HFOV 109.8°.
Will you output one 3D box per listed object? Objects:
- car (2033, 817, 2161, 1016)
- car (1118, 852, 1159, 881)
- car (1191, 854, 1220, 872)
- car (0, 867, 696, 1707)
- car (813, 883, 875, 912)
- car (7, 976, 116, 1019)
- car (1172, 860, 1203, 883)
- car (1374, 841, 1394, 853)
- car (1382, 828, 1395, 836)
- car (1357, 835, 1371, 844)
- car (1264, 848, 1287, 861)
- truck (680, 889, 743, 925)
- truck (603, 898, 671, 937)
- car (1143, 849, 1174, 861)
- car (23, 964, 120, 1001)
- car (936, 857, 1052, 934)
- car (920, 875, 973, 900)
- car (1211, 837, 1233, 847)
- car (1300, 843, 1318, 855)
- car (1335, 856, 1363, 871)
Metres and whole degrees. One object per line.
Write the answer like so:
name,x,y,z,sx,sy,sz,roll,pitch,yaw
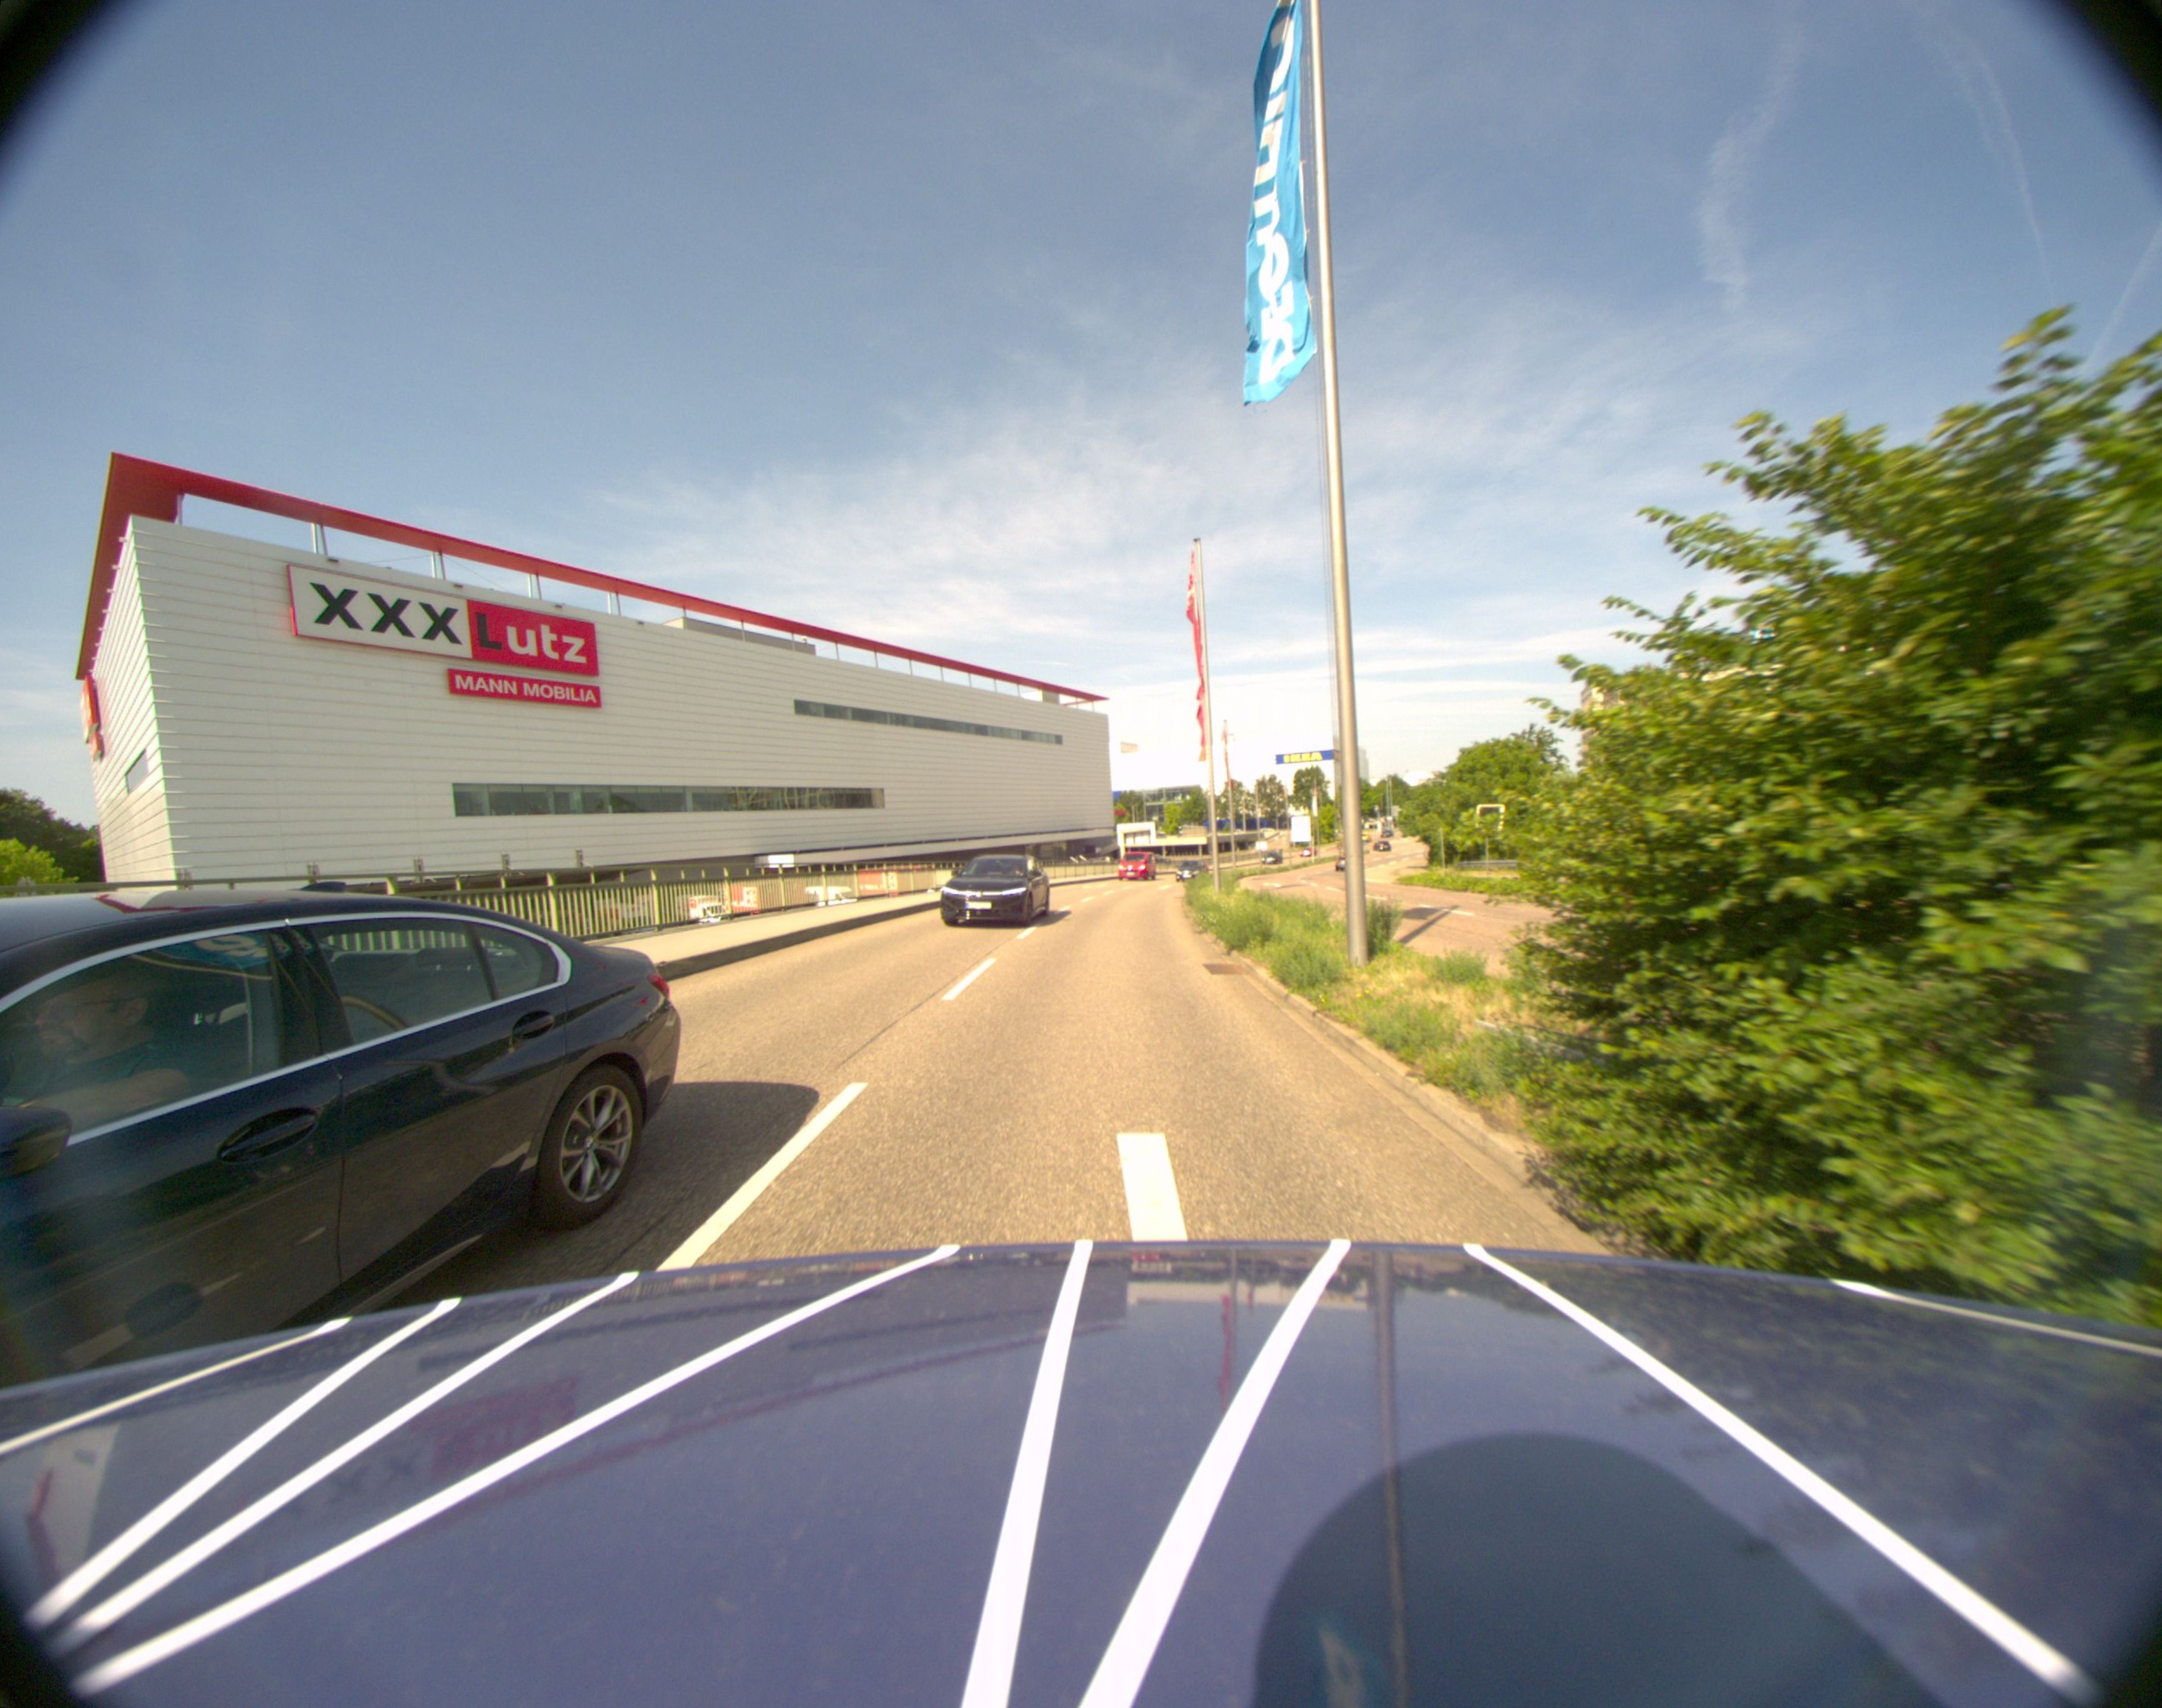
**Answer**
car,9.198,0.491,4.647,1.801,1.542,4.000,-1,1,2
car,4.026,0.822,52.757,1.985,1.896,4.149,0,0,17
car,12.035,0.864,73.296,1.774,1.648,4.151,-1,-1,22
car,-2.975,0.964,1.690,1.792,1.475,4.517,-3,3,1
car,-23.450,4.291,75.129,5.996,2.606,2.135,-2,3,30
car,-62.138,8.678,46.365,1.802,1.629,3.831,-1,4,36
car,7.010,1.153,50.463,1.849,1.409,4.002,1,-1,5
car,47.025,-1.089,117.999,1.860,1.521,4.144,-2,3,8
car,65.967,-4.782,163.136,1.822,1.466,4.006,-1,4,32
car,54.905,-2.821,147.456,1.822,1.466,4.005,-1,3,30
car,25.624,0.052,100.138,1.822,1.466,4.005,-1,3,30
truck,-33.789,4.813,69.393,5.996,2.911,2.135,-2,3,33
truck,-37.039,5.255,63.352,5.996,2.911,2.135,-2,3,33
car,12.101,0.192,118.670,4.405,1.723,1.865,-2,3,39
car,-68.976,8.731,51.958,1.802,1.629,3.831,-1,4,36
car,-1.854,0.851,17.522,1.860,1.520,4.146,1,0,5
car,-14.270,3.510,80.860,2.126,1.994,6.020,0,4,30
car,30.431,-2.599,163.911,4.308,1.824,2.003,-2,2,24
car,34.670,-0.797,115.493,1.822,1.466,4.005,-1,3,30
car,27.162,0.967,76.870,1.784,1.476,4.269,0,0,33
